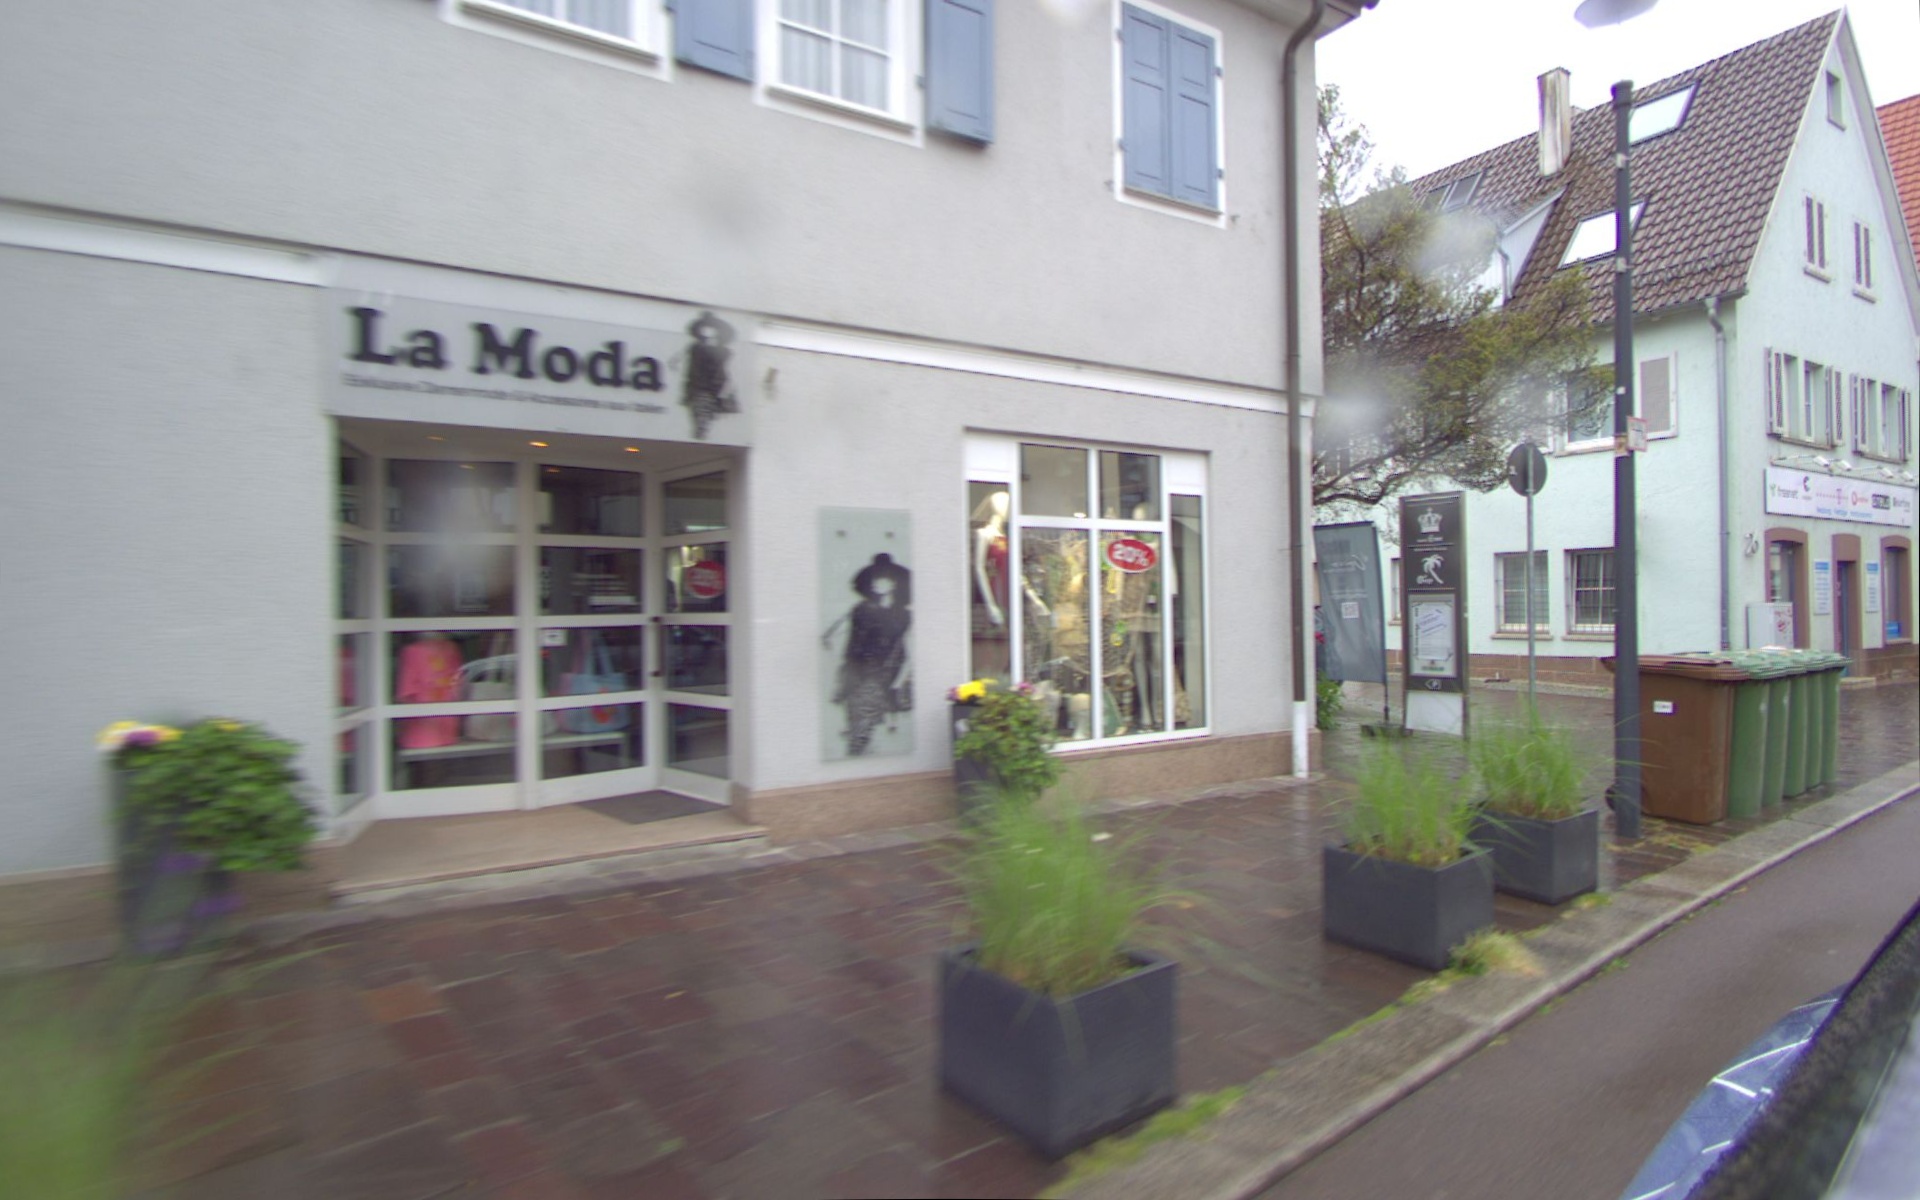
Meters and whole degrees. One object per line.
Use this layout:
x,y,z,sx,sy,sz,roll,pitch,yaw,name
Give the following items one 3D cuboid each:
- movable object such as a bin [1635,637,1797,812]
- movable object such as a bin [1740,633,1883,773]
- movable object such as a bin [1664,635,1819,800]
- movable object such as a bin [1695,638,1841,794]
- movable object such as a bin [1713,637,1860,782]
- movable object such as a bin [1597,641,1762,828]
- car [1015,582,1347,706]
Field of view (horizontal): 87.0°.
5.312,0.832,7.126,0.600,1.112,0.737,-1,-1,-36,movable object such as a bin
7.216,0.842,8.588,0.587,1.093,0.770,-1,-1,-35,movable object such as a bin
5.777,0.830,7.495,0.600,1.112,0.737,-1,-1,-36,movable object such as a bin
6.242,0.864,7.829,0.511,1.105,0.731,-1,-1,-35,movable object such as a bin
6.720,0.857,8.241,0.588,1.077,0.756,-1,-1,-35,movable object such as a bin
4.802,0.854,6.764,0.644,1.104,0.755,0,0,-38,movable object such as a bin
2.985,0.591,14.400,4.309,1.620,1.887,0,-1,2,car
